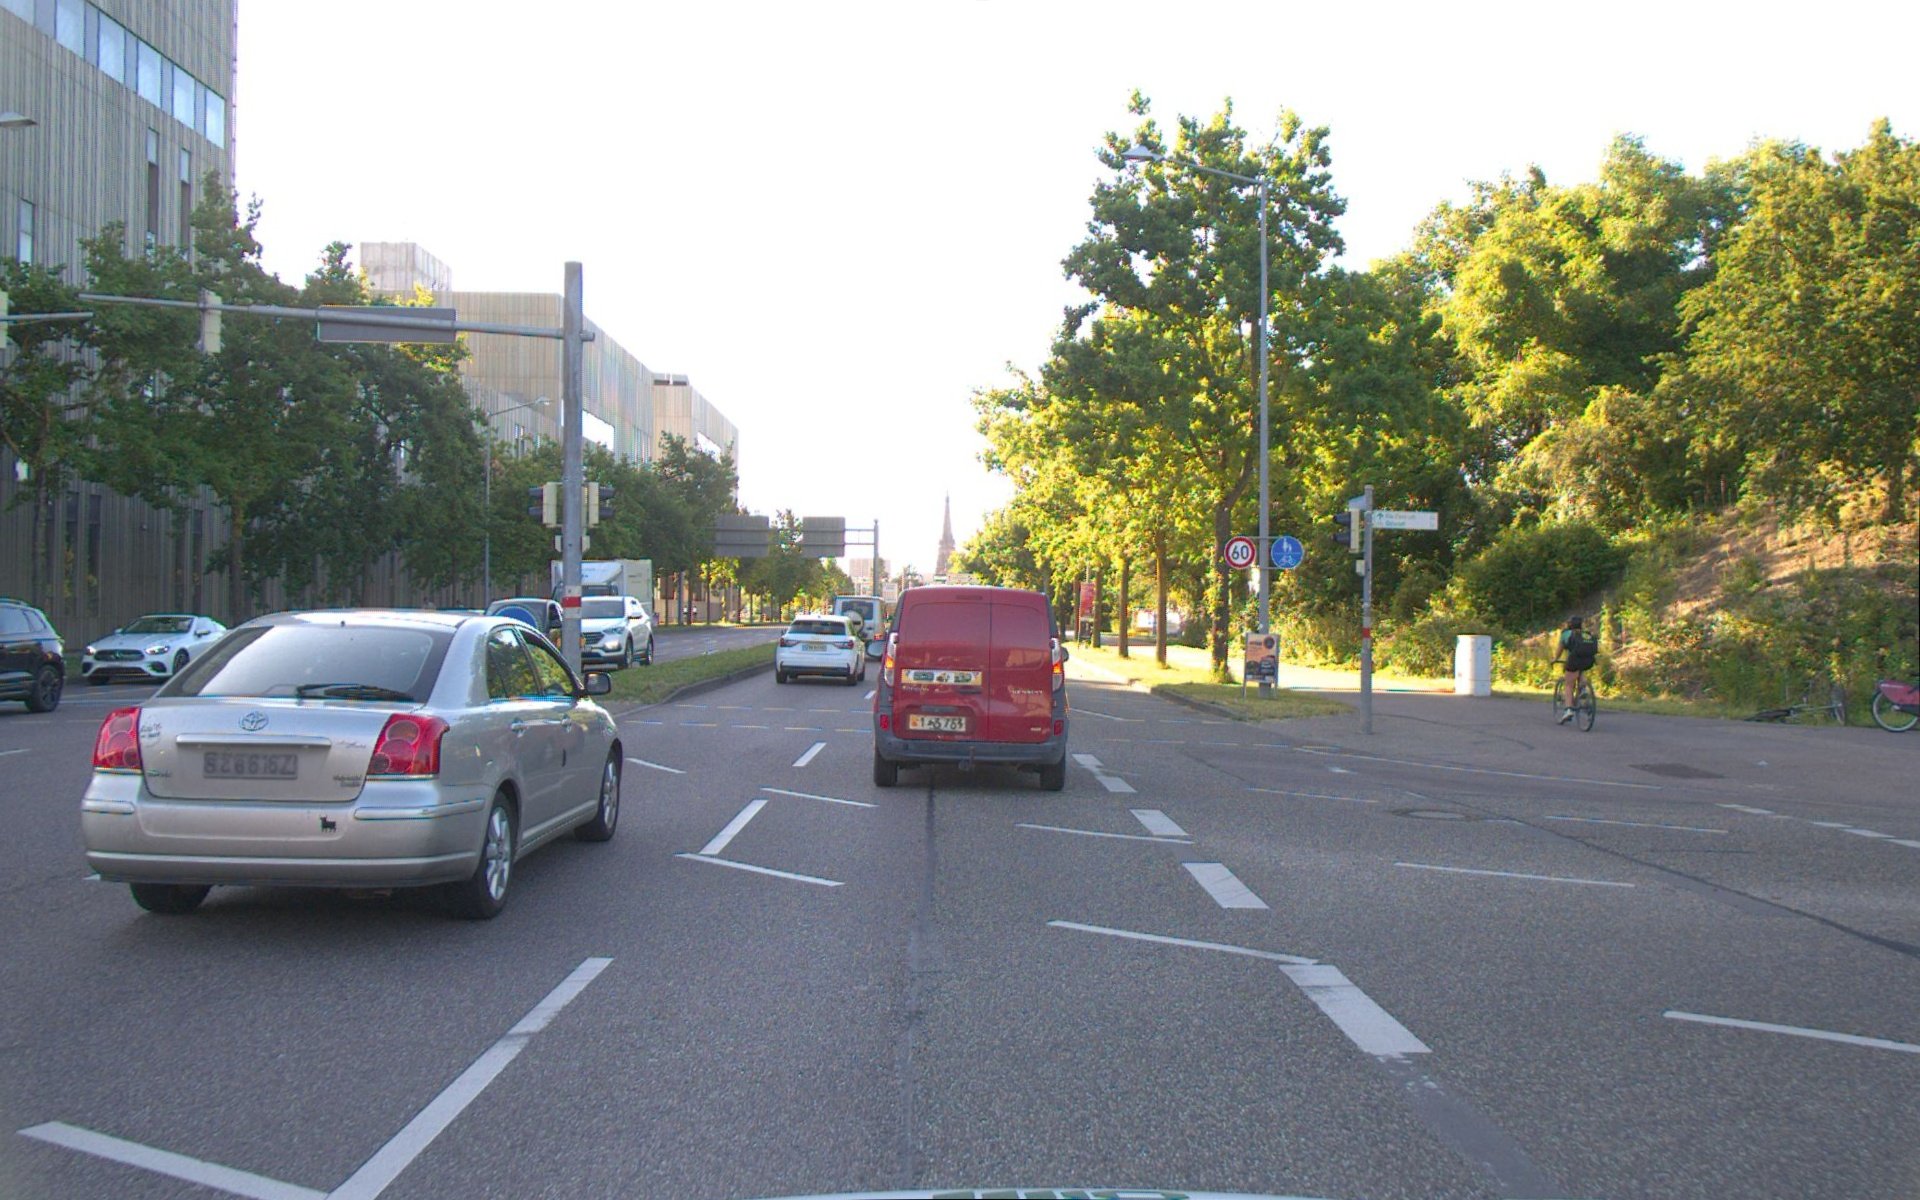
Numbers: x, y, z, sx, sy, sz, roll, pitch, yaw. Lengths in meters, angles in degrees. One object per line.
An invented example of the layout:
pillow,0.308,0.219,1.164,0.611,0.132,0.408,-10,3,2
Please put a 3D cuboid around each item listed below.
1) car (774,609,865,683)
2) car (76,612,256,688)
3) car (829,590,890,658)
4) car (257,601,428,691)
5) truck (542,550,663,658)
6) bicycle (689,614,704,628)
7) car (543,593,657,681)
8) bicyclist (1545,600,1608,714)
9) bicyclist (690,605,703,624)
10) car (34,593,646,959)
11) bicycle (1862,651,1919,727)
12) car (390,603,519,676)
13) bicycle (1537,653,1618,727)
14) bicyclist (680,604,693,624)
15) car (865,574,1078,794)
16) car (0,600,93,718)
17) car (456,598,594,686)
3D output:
car,-2.958,0.956,35.459,1.777,1.463,3.728,1,-1,-3
car,-16.740,1.035,35.128,1.655,1.469,4.559,-2,-1,-1
car,-3.159,0.810,52.595,1.764,2.024,4.586,2,-2,-2
car,-11.067,0.806,29.924,1.603,1.469,4.075,-2,-1,-1
truck,-11.008,0.173,51.489,2.360,3.080,6.654,-2,-1,-1
bicycle,-24.833,1.989,155.848,0.891,1.220,3.300,2,-2,0
car,-8.093,0.821,37.501,1.721,1.828,4.082,-2,-1,-1
bicyclist,9.124,0.844,24.503,0.579,1.642,0.942,1,-2,2
bicyclist,-24.825,1.389,155.870,0.891,1.715,1.408,2,-2,0
car,-2.996,0.771,9.065,1.698,1.506,4.318,1,-1,0
bicycle,13.722,1.270,23.265,1.707,1.041,0.594,1,-2,7
car,-11.040,0.850,36.371,1.602,1.469,4.076,-2,-1,-1
bicycle,9.127,1.314,24.491,0.579,1.041,1.750,1,-2,2
bicyclist,-25.752,1.355,155.818,0.891,1.797,1.396,2,-2,0
car,0.054,0.723,16.066,1.768,1.826,3.999,2,0,-1
car,-13.602,0.817,22.223,1.613,1.572,4.397,-2,-1,-1
car,-7.986,0.763,30.670,1.603,1.469,3.718,-2,-1,-1
